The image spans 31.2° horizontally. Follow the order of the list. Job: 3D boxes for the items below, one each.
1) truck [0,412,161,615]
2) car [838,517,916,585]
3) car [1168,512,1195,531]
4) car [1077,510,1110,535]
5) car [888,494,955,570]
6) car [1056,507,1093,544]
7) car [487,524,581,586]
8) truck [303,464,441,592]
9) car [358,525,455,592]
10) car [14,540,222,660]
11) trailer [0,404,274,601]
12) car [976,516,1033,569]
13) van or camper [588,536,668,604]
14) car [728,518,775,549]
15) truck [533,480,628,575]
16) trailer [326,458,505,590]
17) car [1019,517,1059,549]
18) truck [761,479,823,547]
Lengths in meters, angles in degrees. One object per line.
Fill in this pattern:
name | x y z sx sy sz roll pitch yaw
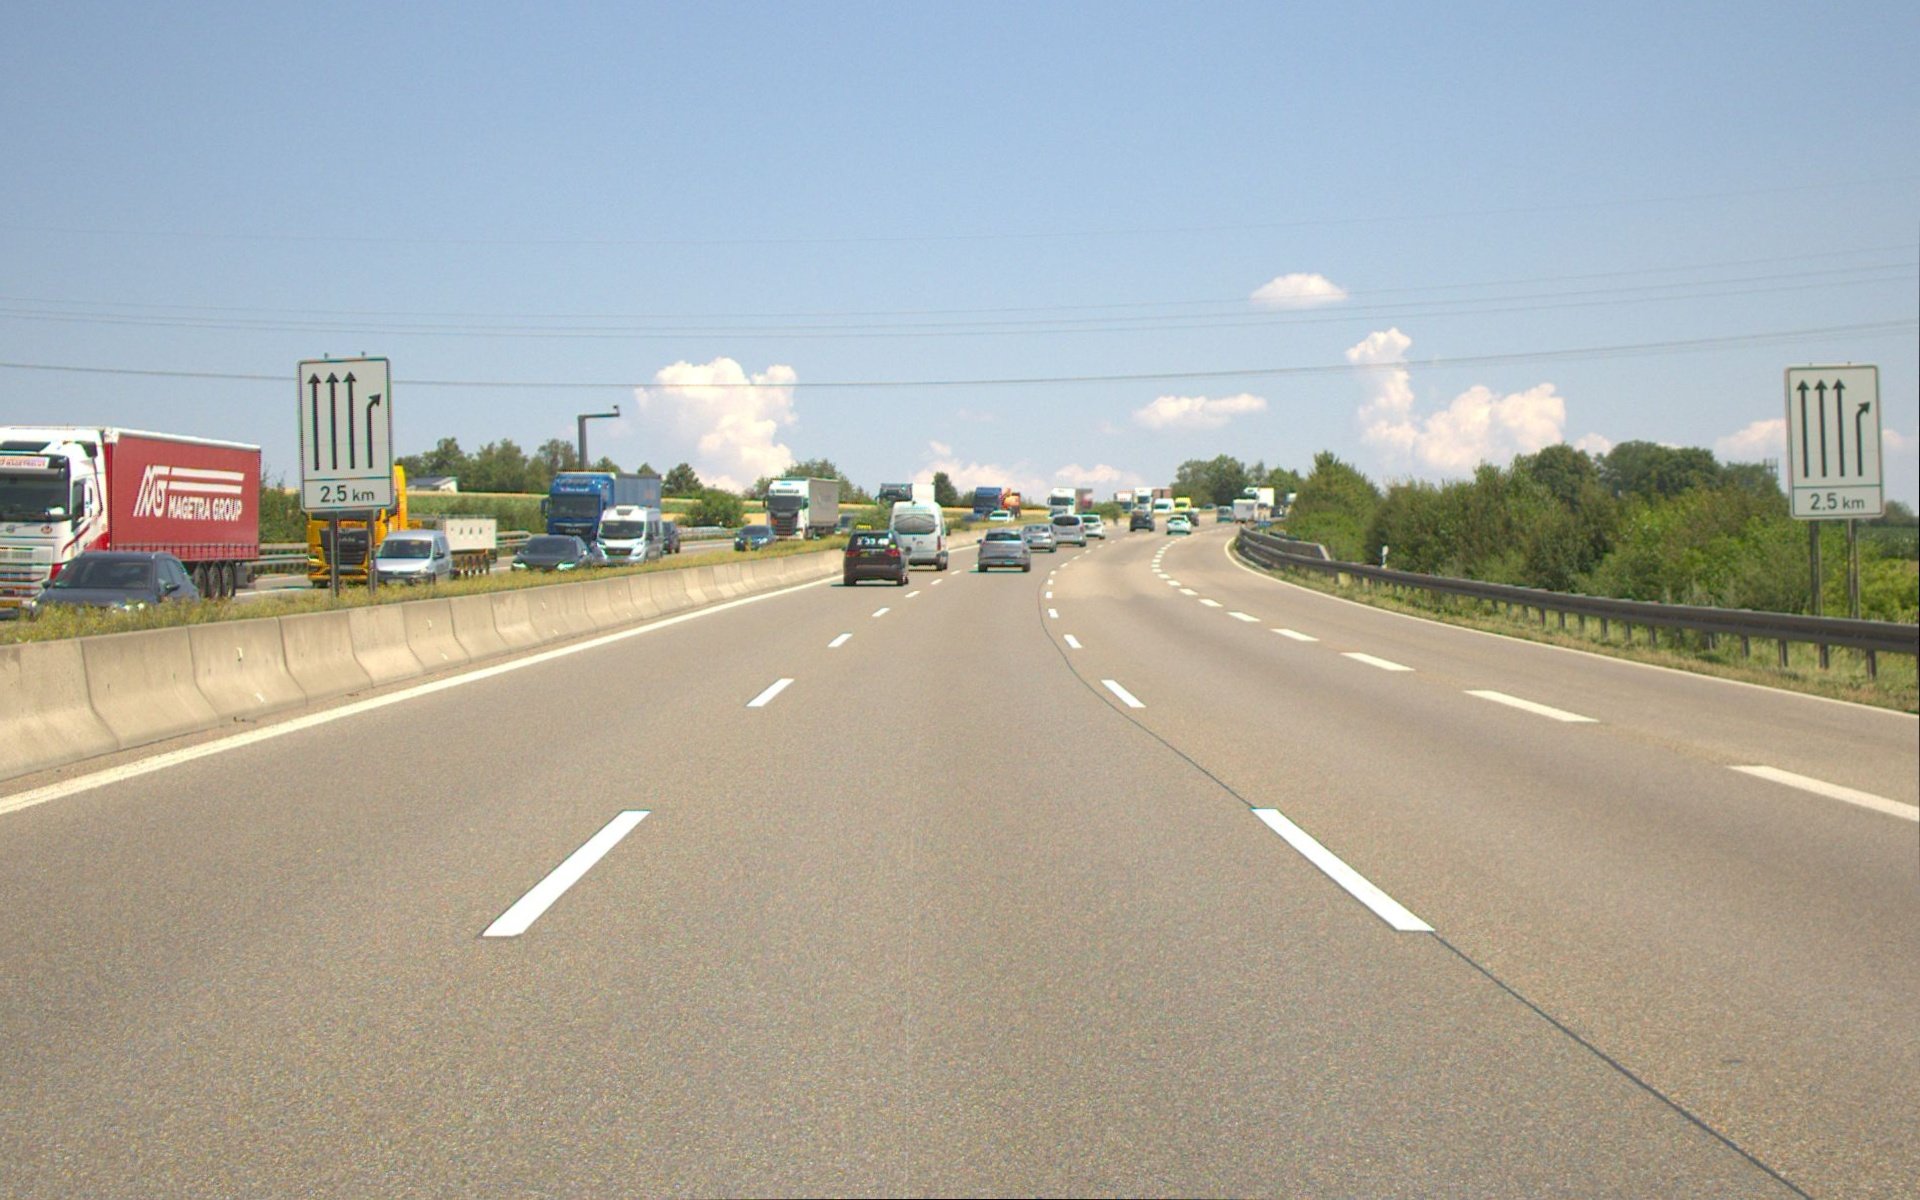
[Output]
truck | -19.144 -1.805 72.375 3.035 4.068 6.315 1 1 1
car | -2.416 -1.452 100.725 1.847 1.854 4.205 0 2 5
car | 16.682 -5.928 258.860 1.902 1.437 3.999 0 2 6
car | 8.718 -5.053 224.564 1.994 1.546 4.000 2 2 4
car | -1.418 -2.511 128.589 2.180 2.616 4.671 1 -1 3
car | 6.474 -4.185 194.152 1.993 1.897 4.000 0 -1 1
car | -12.108 -1.290 98.027 2.049 1.690 5.256 1 1 0
truck | -18.315 -2.272 107.542 2.751 3.824 7.098 1 1 3
car | -15.128 -1.133 94.196 1.913 1.766 4.763 1 1 0
car | -11.833 -0.046 48.579 1.837 1.578 4.555 1 1 0
trailer | -18.989 -2.176 78.969 3.086 4.086 14.381 1 1 2
car | 1.608 -2.099 126.313 1.993 1.744 4.000 1 -1 0
van or camper | -13.055 -1.205 135.653 2.311 2.578 7.143 1 1 1
car | -10.747 -3.451 177.278 1.913 1.536 5.743 1 1 2
truck | -16.610 -3.178 150.903 3.076 4.076 6.935 1 1 3
trailer | -17.951 -2.557 114.472 2.953 4.086 14.381 1 1 3
car | 4.008 -3.401 175.279 1.993 1.579 4.000 0 0 1
truck | -10.911 -5.660 223.698 3.133 4.313 6.146 1 1 5
